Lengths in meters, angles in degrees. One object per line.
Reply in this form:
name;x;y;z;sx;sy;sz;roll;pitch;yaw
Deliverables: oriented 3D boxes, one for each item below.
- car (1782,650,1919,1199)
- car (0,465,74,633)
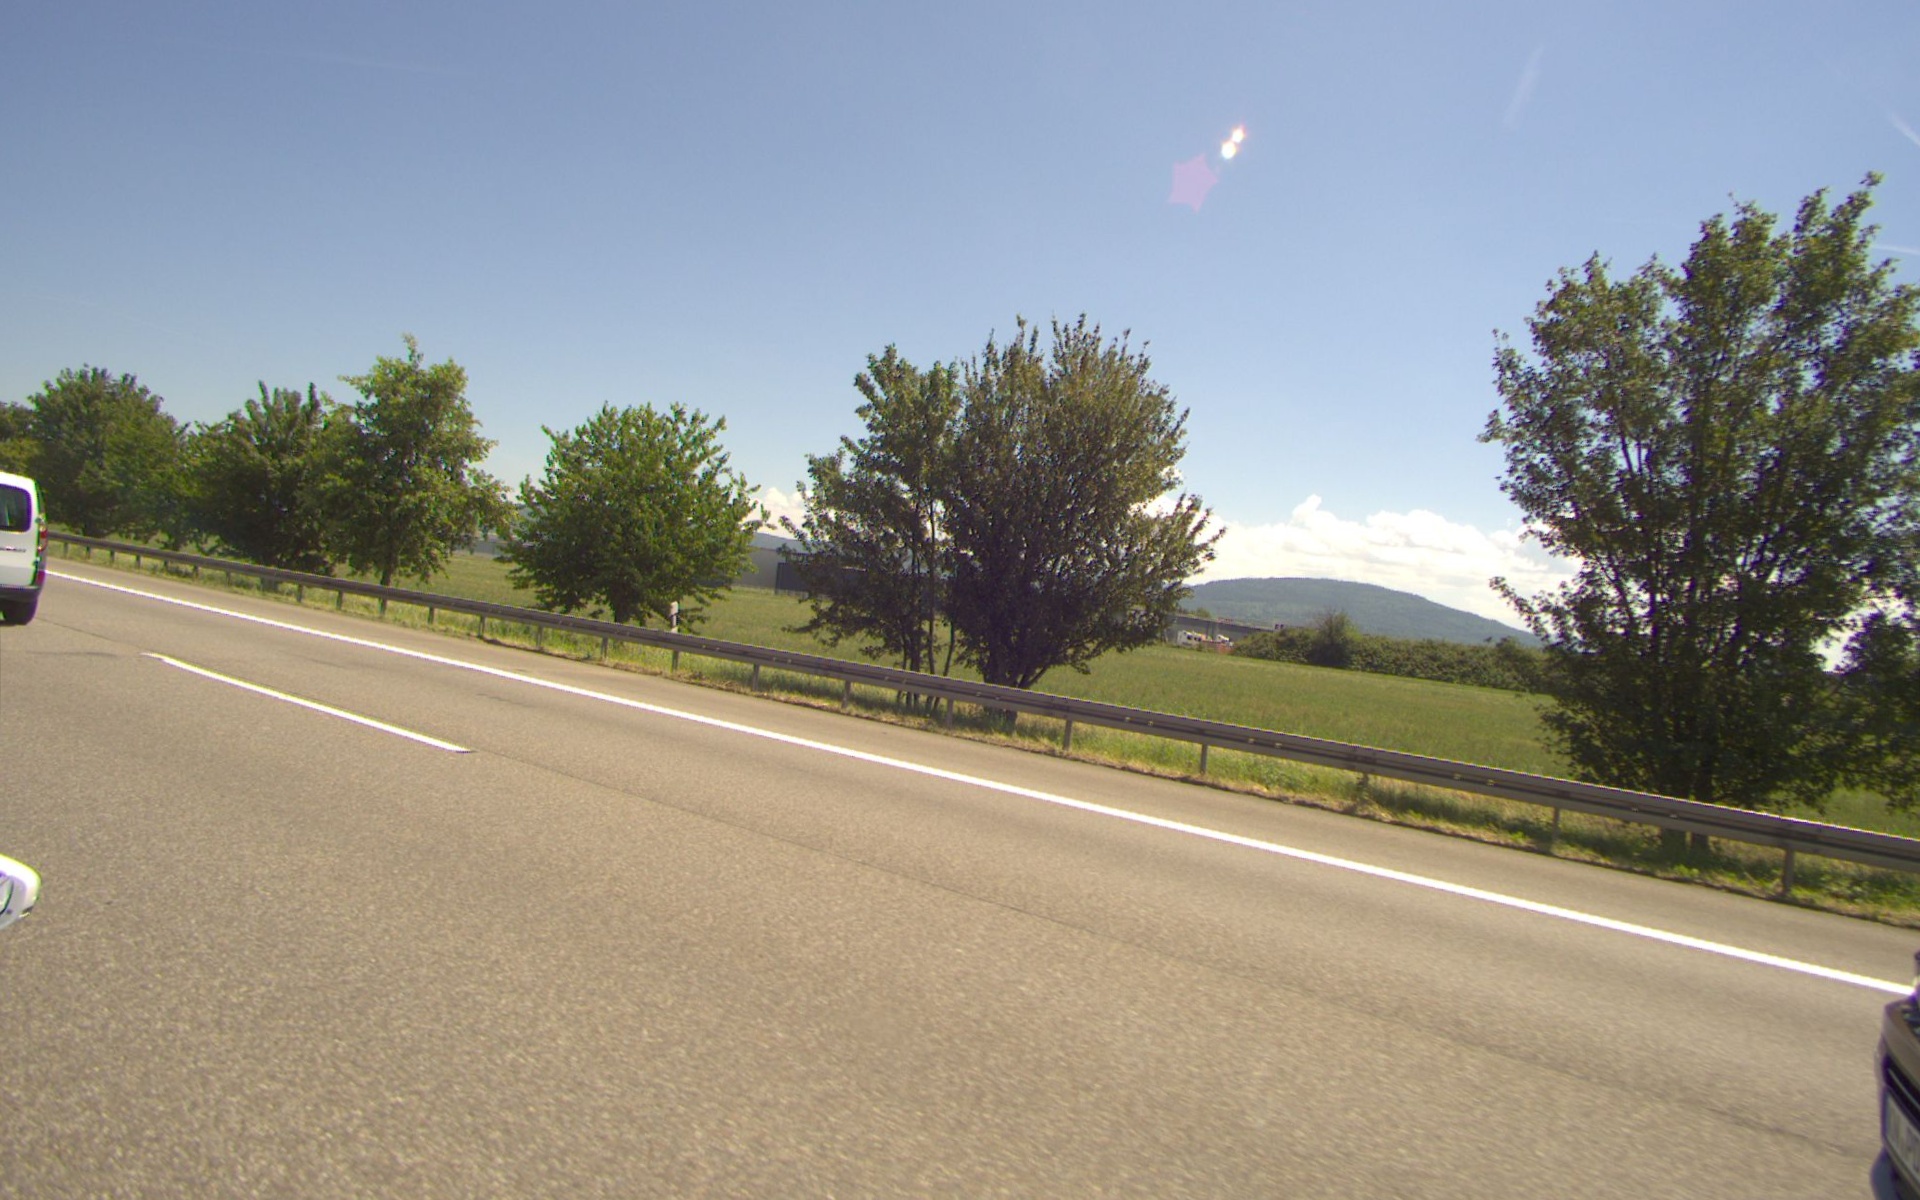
car;4.112;1.166;1.061;4.668;1.694;1.871;6;-2;32
car;-13.167;-0.854;12.504;4.625;1.884;1.856;6;-2;32
